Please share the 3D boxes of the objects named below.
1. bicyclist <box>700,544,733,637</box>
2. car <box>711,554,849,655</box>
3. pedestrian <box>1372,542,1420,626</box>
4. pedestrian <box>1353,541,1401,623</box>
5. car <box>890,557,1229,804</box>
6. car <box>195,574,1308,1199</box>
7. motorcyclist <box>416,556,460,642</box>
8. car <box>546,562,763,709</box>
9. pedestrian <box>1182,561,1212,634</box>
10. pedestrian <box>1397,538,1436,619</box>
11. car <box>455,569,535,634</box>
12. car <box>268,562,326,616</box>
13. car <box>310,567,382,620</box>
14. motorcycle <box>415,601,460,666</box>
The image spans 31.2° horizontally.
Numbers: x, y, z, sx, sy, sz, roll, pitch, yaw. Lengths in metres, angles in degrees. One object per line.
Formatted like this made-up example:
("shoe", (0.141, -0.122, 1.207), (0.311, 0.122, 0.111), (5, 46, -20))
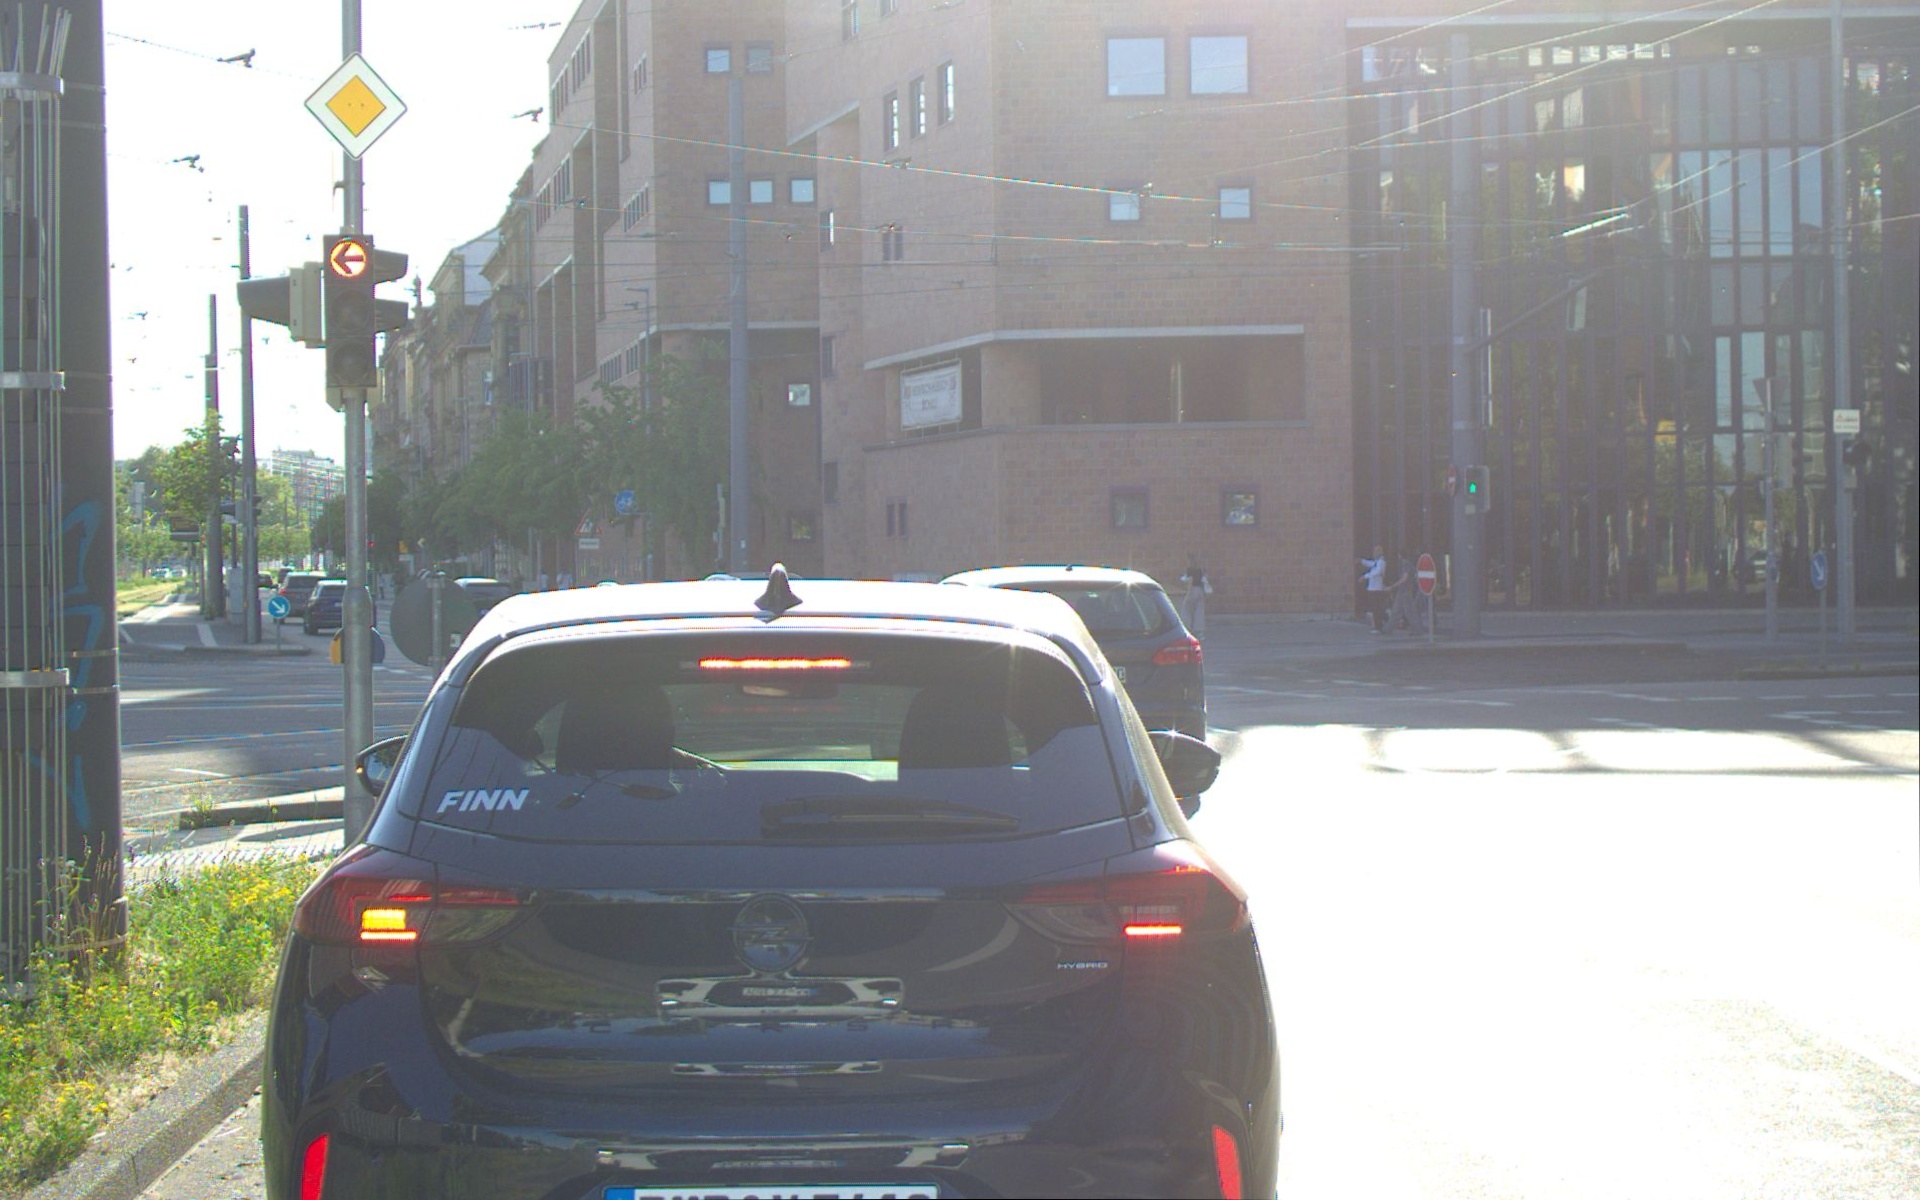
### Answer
("bicyclist", (-4.717, -0.196, 66.560), (0.577, 1.785, 0.864), (-1, 1, -2))
("car", (-2.762, 0.040, 51.946), (1.807, 1.452, 4.001), (0, 1, -7))
("pedestrian", (8.559, -0.316, 67.451), (0.900, 1.611, 0.560), (-1, 1, 8))
("pedestrian", (8.274, -0.363, 68.167), (0.900, 1.611, 0.560), (-1, 1, 8))
("car", (0.575, 0.474, 23.271), (1.685, 1.428, 4.154), (1, 2, -7))
("car", (-0.286, 0.682, 7.119), (1.649, 1.428, 4.000), (-1, 1, 1))
("motorcyclist", (-9.421, -0.033, 62.027), (0.744, 1.525, 1.021), (-1, 1, -9))
("car", (-3.557, 0.355, 39.308), (1.811, 1.487, 4.497), (-3, 1, -13))
("pedestrian", (4.684, -0.049, 68.058), (0.529, 1.425, 0.598), (-1, 1, -1))
("pedestrian", (9.170, -0.425, 69.042), (0.738, 1.611, 0.560), (-1, 1, 8))
("car", (-11.053, 0.022, 81.532), (1.807, 1.452, 4.001), (0, 1, -9))
("car", (-21.139, -0.368, 109.513), (1.737, 1.645, 4.001), (-1, 1, -12))
("car", (-16.321, -0.193, 91.265), (1.737, 1.345, 4.001), (-1, 1, -12))
("motorcycle", (-9.425, 0.601, 61.982), (0.775, 1.111, 1.970), (-1, 1, -9))
